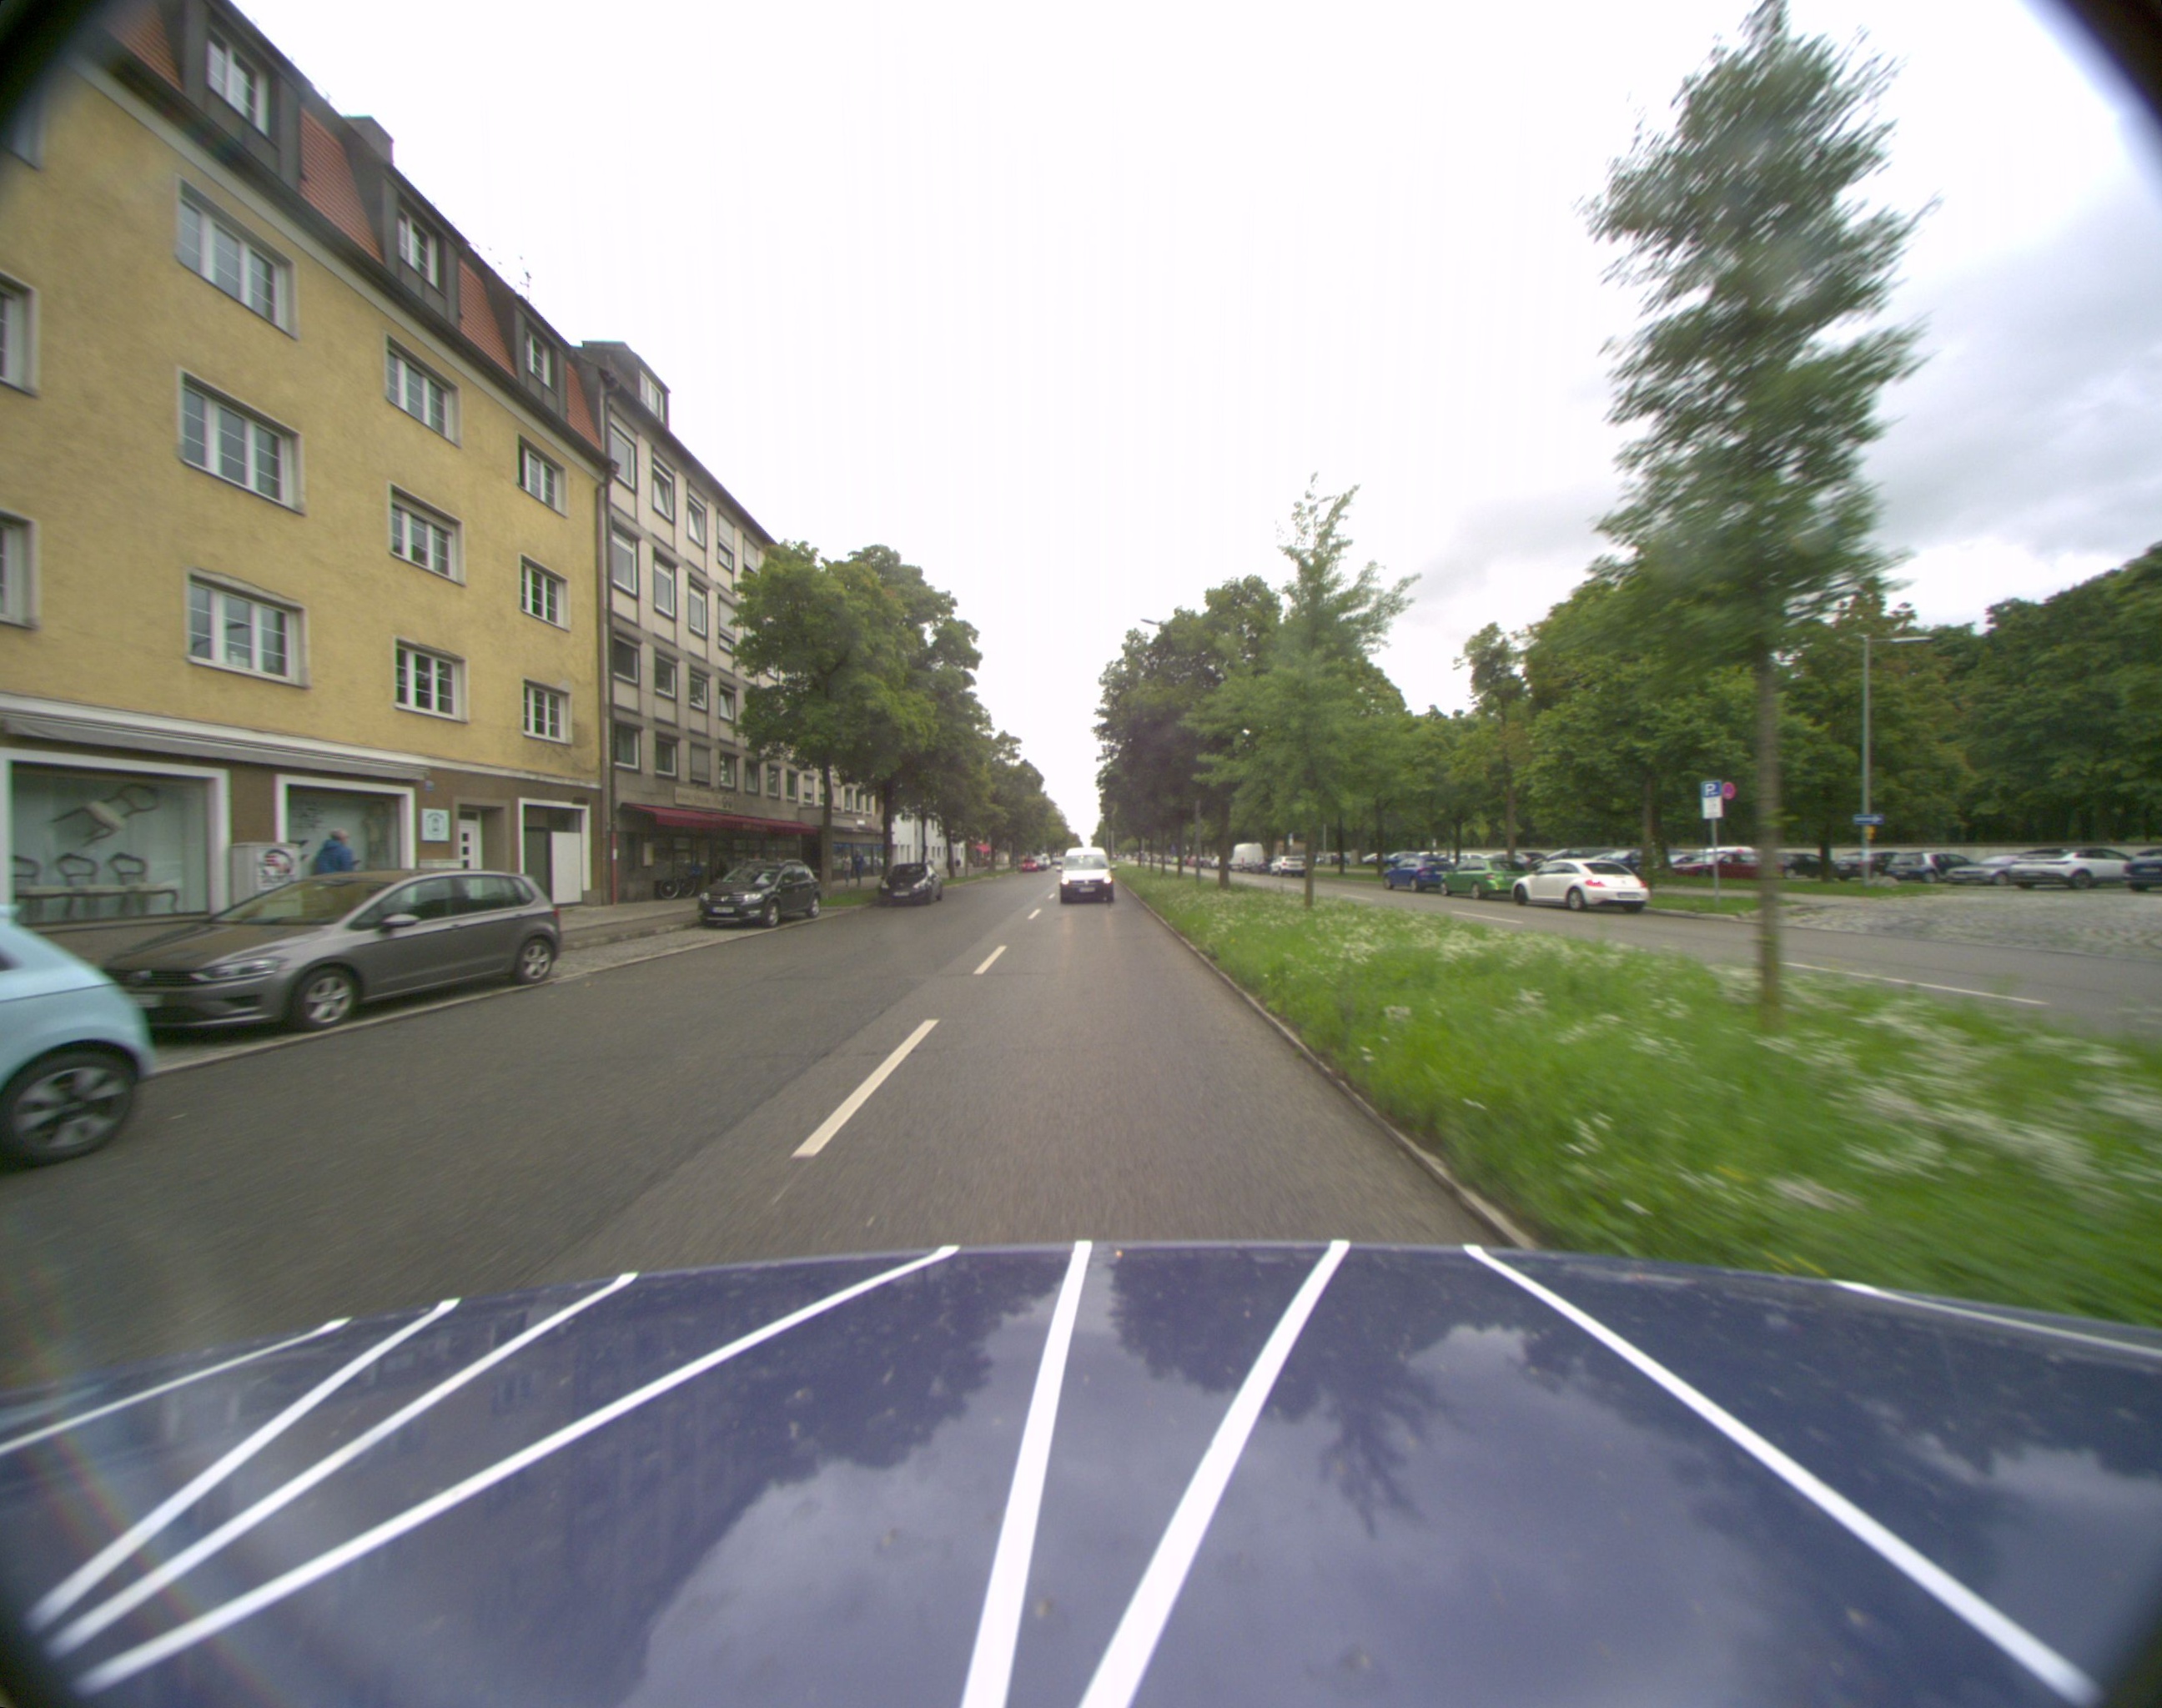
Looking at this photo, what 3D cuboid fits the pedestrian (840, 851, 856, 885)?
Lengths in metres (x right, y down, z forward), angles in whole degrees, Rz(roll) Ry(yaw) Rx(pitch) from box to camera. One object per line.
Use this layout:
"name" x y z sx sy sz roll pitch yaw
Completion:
"pedestrian" -11.547 0.688 37.687 0.550 1.620 0.641 1 1 1

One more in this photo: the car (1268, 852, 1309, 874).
"car" 15.257 0.625 55.994 1.862 1.482 4.141 -1 1 0

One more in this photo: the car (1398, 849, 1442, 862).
"car" 41.265 0.159 92.513 4.517 1.433 2.000 -1 0 0

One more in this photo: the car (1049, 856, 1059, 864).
"car" -4.904 1.114 140.196 1.648 1.468 3.956 -2 0 0

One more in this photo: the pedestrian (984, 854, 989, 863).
"pedestrian" -13.917 0.650 112.044 0.539 1.207 0.487 -1 1 1

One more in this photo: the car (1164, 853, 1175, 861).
"car" 16.821 0.552 144.691 1.654 1.414 3.687 2 0 2

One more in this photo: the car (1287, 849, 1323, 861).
"car" 28.909 0.099 98.120 4.146 1.433 2.000 -1 0 -1

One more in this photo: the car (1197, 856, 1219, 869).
"car" 15.152 1.014 90.612 1.826 1.439 3.999 1 0 -2

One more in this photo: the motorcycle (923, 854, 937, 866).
"motorcycle" -13.492 0.538 67.902 0.763 1.079 2.199 0 0 1

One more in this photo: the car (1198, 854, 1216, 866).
"car" 16.105 0.775 97.237 1.825 1.401 4.001 1 0 3

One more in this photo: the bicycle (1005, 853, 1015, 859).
"bicycle" -14.201 0.412 152.463 2.032 1.061 0.663 -1 1 -4

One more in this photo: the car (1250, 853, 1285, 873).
"car" 15.530 0.732 63.517 1.862 1.482 4.251 -1 1 0

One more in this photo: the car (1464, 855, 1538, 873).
"car" 29.445 0.661 53.338 4.183 1.202 1.784 -1 0 4

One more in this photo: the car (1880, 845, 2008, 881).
"car" 40.890 0.406 36.056 3.997 1.527 1.815 -2 0 0

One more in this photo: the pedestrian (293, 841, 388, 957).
"pedestrian" -12.175 0.723 12.514 0.794 1.845 0.776 1 1 -2

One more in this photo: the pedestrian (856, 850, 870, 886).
"pedestrian" -10.692 0.675 37.299 0.501 1.723 0.733 0 1 1

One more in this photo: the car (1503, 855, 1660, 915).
"car" 14.558 0.842 22.429 1.765 1.528 4.314 2 0 1

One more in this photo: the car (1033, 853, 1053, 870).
"car" -4.328 0.832 86.455 1.833 1.736 4.508 -1 0 2

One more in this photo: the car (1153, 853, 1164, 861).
"car" 17.605 0.717 173.249 1.862 1.761 4.533 0 0 -1

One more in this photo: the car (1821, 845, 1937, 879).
"car" 40.708 0.384 38.828 3.997 1.527 1.815 -2 0 0

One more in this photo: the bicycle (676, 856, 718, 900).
"bicycle" -13.461 0.822 26.677 0.581 1.455 1.688 -1 0 1

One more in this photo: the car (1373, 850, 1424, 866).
"car" 29.068 0.381 69.654 3.995 1.429 1.815 -1 0 6

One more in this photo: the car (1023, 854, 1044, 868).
"car" -5.005 0.732 80.535 1.524 1.433 4.001 -1 0 5

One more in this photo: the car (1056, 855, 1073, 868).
"car" -2.071 0.956 96.536 1.984 1.591 4.402 1 0 1

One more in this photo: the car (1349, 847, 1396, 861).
"car" 29.307 0.031 76.453 3.996 1.331 1.815 -1 0 3

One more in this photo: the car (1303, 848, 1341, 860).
"car" 28.840 -0.010 91.030 3.999 1.276 1.740 -1 0 -5

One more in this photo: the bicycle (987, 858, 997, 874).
"bicycle" -7.341 0.997 62.676 0.456 1.248 2.146 -1 0 -17

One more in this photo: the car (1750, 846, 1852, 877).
"car" 40.462 0.424 42.785 3.997 1.527 1.815 -2 0 0

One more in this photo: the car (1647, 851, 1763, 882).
"car" 29.399 0.590 35.868 3.987 1.384 1.759 -1 1 1

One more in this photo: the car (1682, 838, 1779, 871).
"car" 41.617 0.036 48.733 4.517 2.023 2.000 0 1 0

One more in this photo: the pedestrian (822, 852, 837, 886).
"pedestrian" -12.382 0.729 37.381 0.543 1.631 0.724 0 0 -6

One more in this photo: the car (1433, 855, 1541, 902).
"car" 14.680 0.830 27.789 1.642 1.528 4.314 2 0 1

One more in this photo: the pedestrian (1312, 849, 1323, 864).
"pedestrian" 23.069 0.216 74.155 0.797 1.487 0.856 -1 1 1

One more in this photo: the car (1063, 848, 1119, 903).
"car" 0.346 0.706 27.544 1.772 1.742 4.546 -3 0 1

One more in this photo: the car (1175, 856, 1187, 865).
"car" 17.100 1.069 130.388 1.644 1.490 4.000 1 0 2

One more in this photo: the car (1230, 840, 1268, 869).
"car" 15.762 0.060 71.602 2.145 2.628 7.105 1 0 1

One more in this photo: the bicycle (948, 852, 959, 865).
"bicycle" -14.003 0.495 83.536 0.704 1.399 2.592 3 0 1

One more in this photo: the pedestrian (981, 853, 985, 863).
"pedestrian" -14.154 0.575 109.840 0.539 1.331 0.552 -1 1 0

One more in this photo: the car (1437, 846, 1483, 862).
"car" 40.574 0.003 81.406 3.995 1.643 1.771 -1 1 6

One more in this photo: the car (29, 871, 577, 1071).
"car" -8.225 1.069 8.781 1.820 1.616 4.308 1 0 2

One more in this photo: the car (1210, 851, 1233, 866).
"car" 15.765 0.528 85.388 1.826 1.519 4.298 1 1 0

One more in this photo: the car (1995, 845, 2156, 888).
"car" 39.557 0.488 30.299 3.997 1.527 1.815 -2 0 0

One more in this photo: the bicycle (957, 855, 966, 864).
"bicycle" -13.813 0.641 87.979 0.623 1.040 2.195 3 0 1

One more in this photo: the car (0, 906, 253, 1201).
"car" -6.451 1.089 3.074 1.657 1.443 4.001 -2 0 3

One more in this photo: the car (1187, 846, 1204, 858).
"car" 16.949 -0.255 112.544 1.826 1.690 4.238 -1 1 0

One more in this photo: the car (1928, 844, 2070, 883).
"car" 40.301 0.410 33.432 3.997 1.527 1.815 -2 0 0

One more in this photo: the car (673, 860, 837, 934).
"car" -8.166 1.007 19.533 1.998 1.633 4.334 -1 0 5

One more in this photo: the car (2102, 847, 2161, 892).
"car" 39.836 0.498 27.233 3.997 1.527 1.815 -2 0 0

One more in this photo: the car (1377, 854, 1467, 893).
"car" 14.740 0.786 33.154 1.891 1.528 4.314 2 0 -1

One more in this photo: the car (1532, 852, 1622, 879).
"car" 29.176 0.663 44.801 3.992 1.496 2.002 -1 0 14

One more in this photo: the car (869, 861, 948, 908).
"car" -6.037 1.025 26.989 1.999 1.443 3.999 -2 0 -2

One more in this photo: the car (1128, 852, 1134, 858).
"car" 15.030 0.318 228.430 1.855 1.591 4.402 1 0 1

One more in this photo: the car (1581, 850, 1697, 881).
"car" 28.477 0.565 38.896 4.356 1.496 2.002 -1 0 11

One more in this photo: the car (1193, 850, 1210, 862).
"car" 16.254 0.240 102.728 1.826 1.590 4.113 -1 0 2

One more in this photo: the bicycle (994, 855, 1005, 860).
"bicycle" -16.669 0.719 155.531 2.032 1.061 0.663 -1 1 -4

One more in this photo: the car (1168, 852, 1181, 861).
"car" 17.020 0.391 138.163 1.826 1.621 4.456 0 0 1

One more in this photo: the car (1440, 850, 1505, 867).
"car" 29.628 0.332 57.577 3.996 1.202 1.784 -1 0 4

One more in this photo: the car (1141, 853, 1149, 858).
"car" 17.223 0.307 205.084 1.717 1.401 4.041 0 0 -1

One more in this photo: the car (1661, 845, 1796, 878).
"car" 28.573 0.331 33.614 4.424 1.384 1.759 -1 1 1

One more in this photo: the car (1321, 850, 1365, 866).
"car" 27.398 0.436 79.577 3.999 1.561 1.813 -1 0 -5
